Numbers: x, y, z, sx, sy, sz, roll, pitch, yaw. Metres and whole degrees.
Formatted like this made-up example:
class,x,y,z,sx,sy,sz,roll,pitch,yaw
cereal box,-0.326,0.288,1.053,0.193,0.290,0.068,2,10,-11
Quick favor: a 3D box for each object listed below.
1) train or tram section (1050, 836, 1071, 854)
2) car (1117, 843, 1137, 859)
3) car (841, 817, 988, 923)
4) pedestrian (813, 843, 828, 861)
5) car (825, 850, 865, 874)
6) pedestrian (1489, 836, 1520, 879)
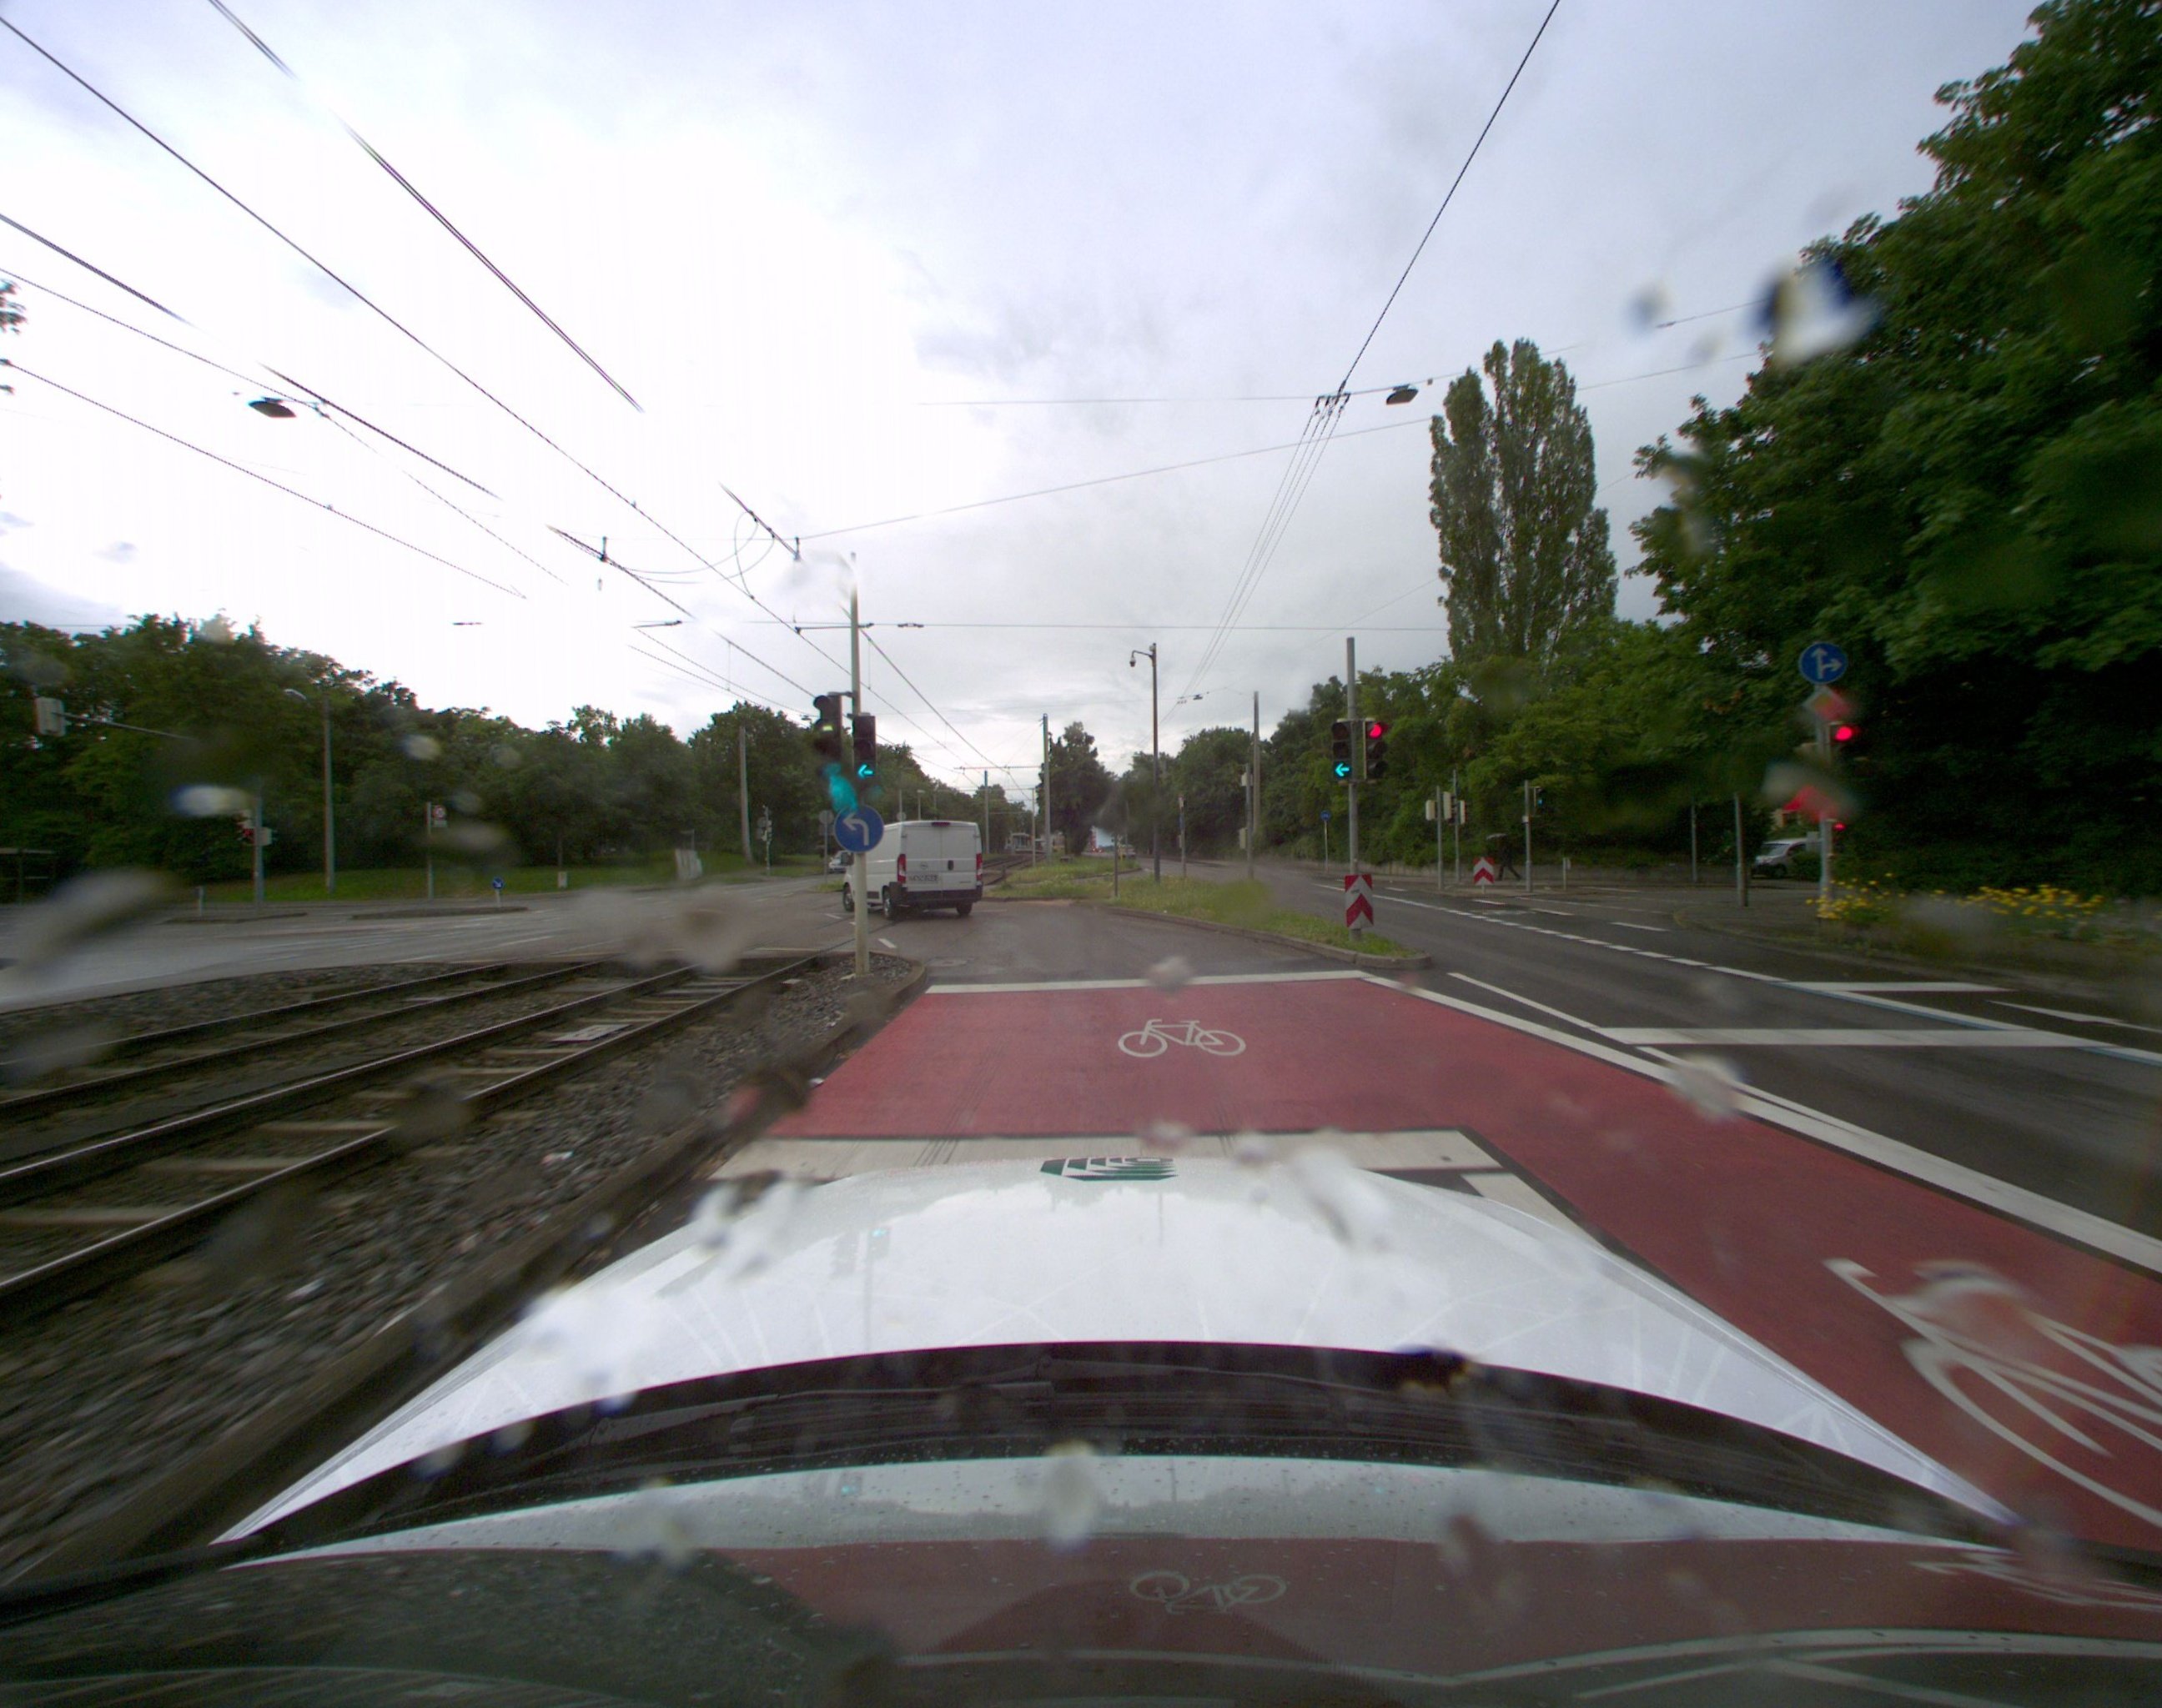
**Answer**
class,x,y,z,sx,sy,sz,roll,pitch,yaw
train or tram section,-4.371,-1.989,178.248,4.046,3.894,15.041,0,1,0
car,4.414,-0.283,79.255,1.698,1.521,3.790,0,1,-1
car,-4.326,0.293,20.419,2.159,2.283,5.015,-2,1,-29
pedestrian,-23.765,-0.200,74.336,1.012,1.600,1.038,-1,0,-6
car,-16.952,0.539,58.709,1.714,1.553,3.861,-4,1,-1
pedestrian,15.915,0.138,30.590,0.804,1.607,0.683,0,-2,1
